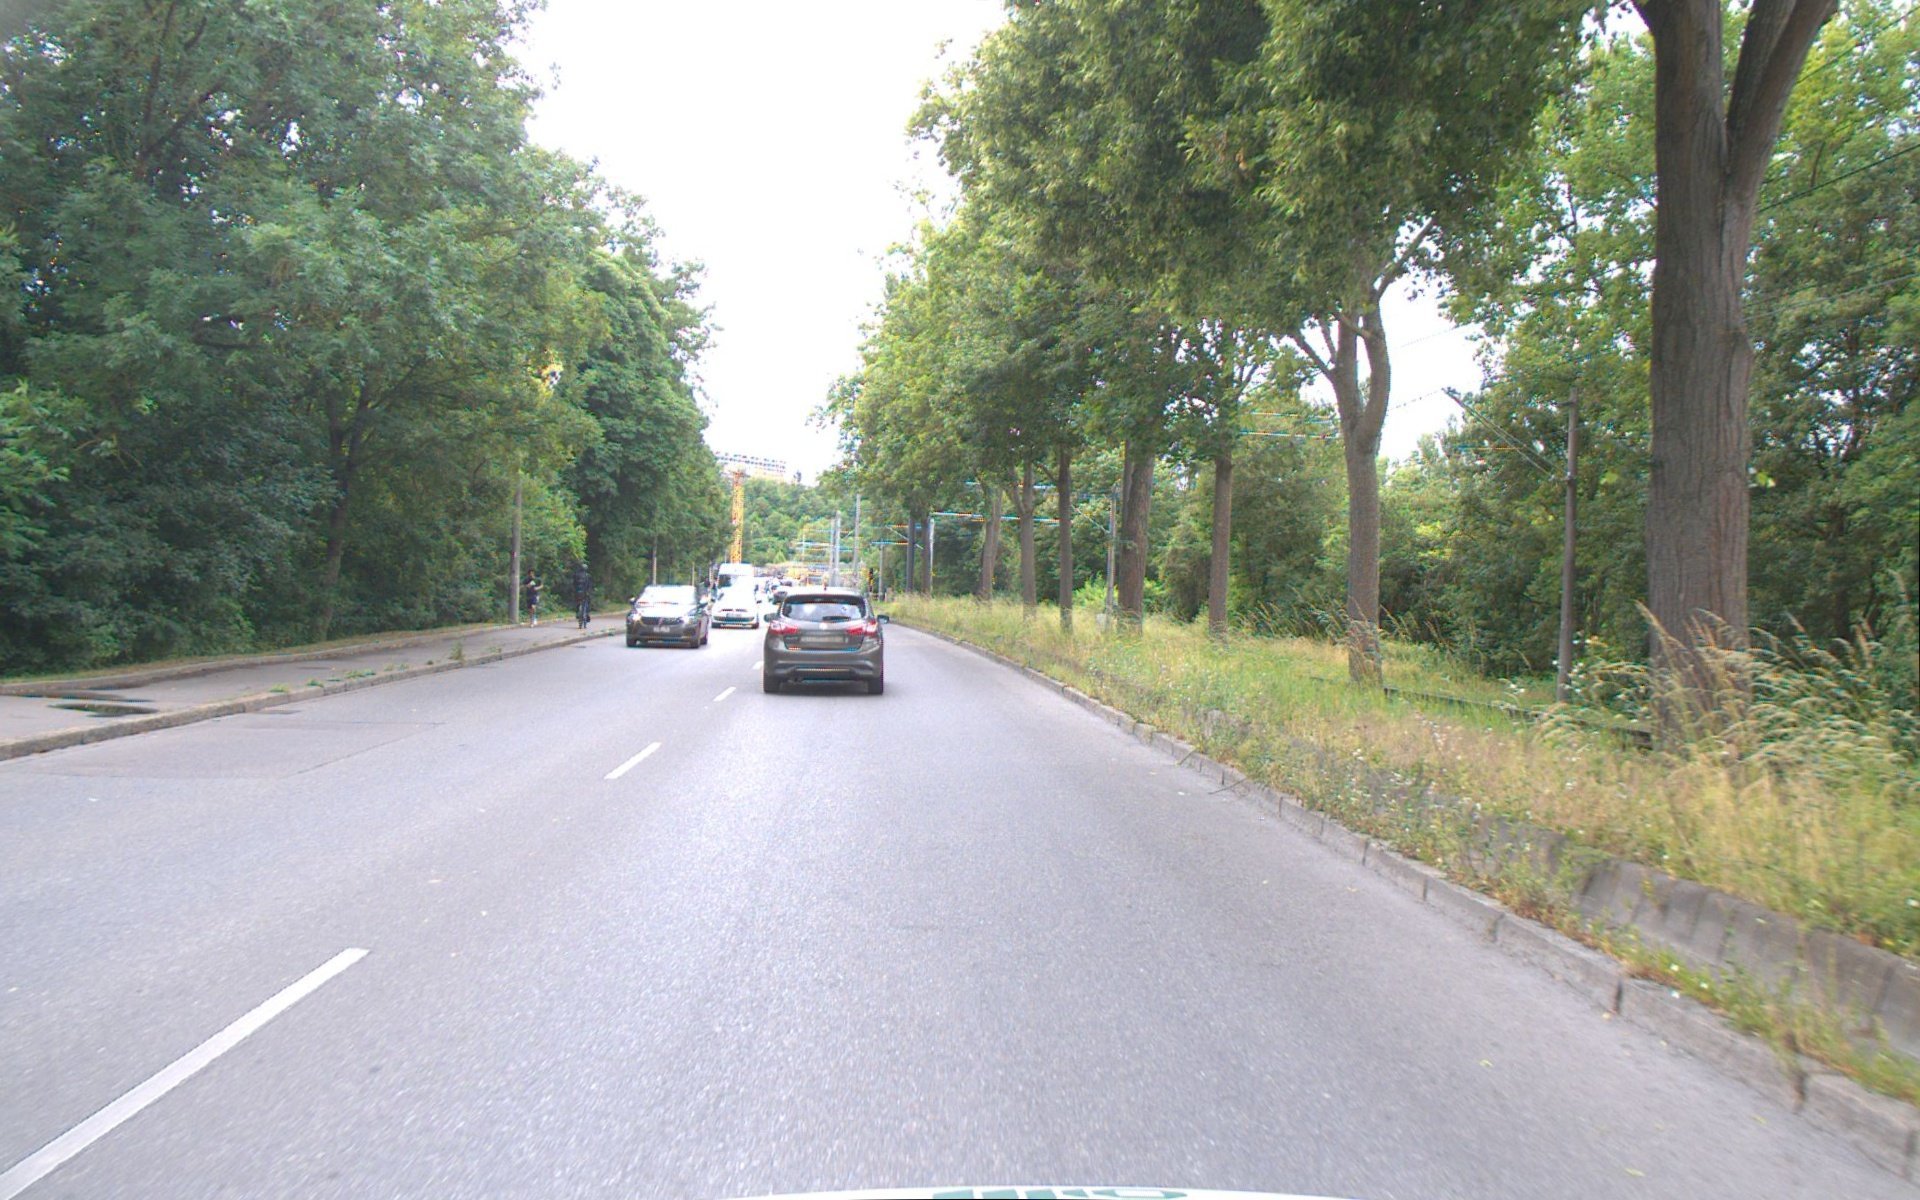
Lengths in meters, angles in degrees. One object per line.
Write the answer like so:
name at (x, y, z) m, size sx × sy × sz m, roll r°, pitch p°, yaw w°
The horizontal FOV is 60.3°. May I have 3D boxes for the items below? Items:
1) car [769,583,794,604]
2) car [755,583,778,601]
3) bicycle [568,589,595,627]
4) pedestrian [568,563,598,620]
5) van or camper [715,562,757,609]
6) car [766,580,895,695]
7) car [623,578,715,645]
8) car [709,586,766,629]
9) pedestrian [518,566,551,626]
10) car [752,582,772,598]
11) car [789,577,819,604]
car at (-14.484, -0.506, 134.221) m, size 1.741 × 1.497 × 3.998 m, roll 4°, pitch 1°, yaw -3°
car at (-17.358, -0.716, 148.363) m, size 1.741 × 1.497 × 3.998 m, roll 3°, pitch 1°, yaw -3°
bicycle at (-10.984, 0.231, 48.037) m, size 0.478 × 1.048 × 1.124 m, roll 4°, pitch 1°, yaw -1°
pedestrian at (-10.929, -0.245, 47.988) m, size 0.605 × 1.598 × 0.849 m, roll 4°, pitch 1°, yaw -1°
van or camper at (-11.231, -0.760, 83.131) m, size 1.889 × 2.188 × 3.927 m, roll 4°, pitch 1°, yaw -6°
car at (-2.003, 0.503, 25.079) m, size 1.781 × 1.534 × 3.996 m, roll 1°, pitch 1°, yaw -6°
car at (-7.134, 0.263, 40.883) m, size 1.714 × 1.489 × 3.918 m, roll 3°, pitch 0°, yaw -3°
car at (-8.034, 0.249, 59.905) m, size 1.690 × 1.353 × 3.474 m, roll 3°, pitch 1°, yaw -3°
pedestrian at (-12.008, -0.113, 46.714) m, size 0.682 × 1.649 × 0.684 m, roll 4°, pitch 1°, yaw -2°
car at (-20.470, -1.032, 171.376) m, size 1.741 × 1.497 × 3.998 m, roll 4°, pitch 1°, yaw -3°
car at (-9.864, -0.634, 104.929) m, size 1.741 × 1.497 × 3.997 m, roll 4°, pitch 1°, yaw -5°
